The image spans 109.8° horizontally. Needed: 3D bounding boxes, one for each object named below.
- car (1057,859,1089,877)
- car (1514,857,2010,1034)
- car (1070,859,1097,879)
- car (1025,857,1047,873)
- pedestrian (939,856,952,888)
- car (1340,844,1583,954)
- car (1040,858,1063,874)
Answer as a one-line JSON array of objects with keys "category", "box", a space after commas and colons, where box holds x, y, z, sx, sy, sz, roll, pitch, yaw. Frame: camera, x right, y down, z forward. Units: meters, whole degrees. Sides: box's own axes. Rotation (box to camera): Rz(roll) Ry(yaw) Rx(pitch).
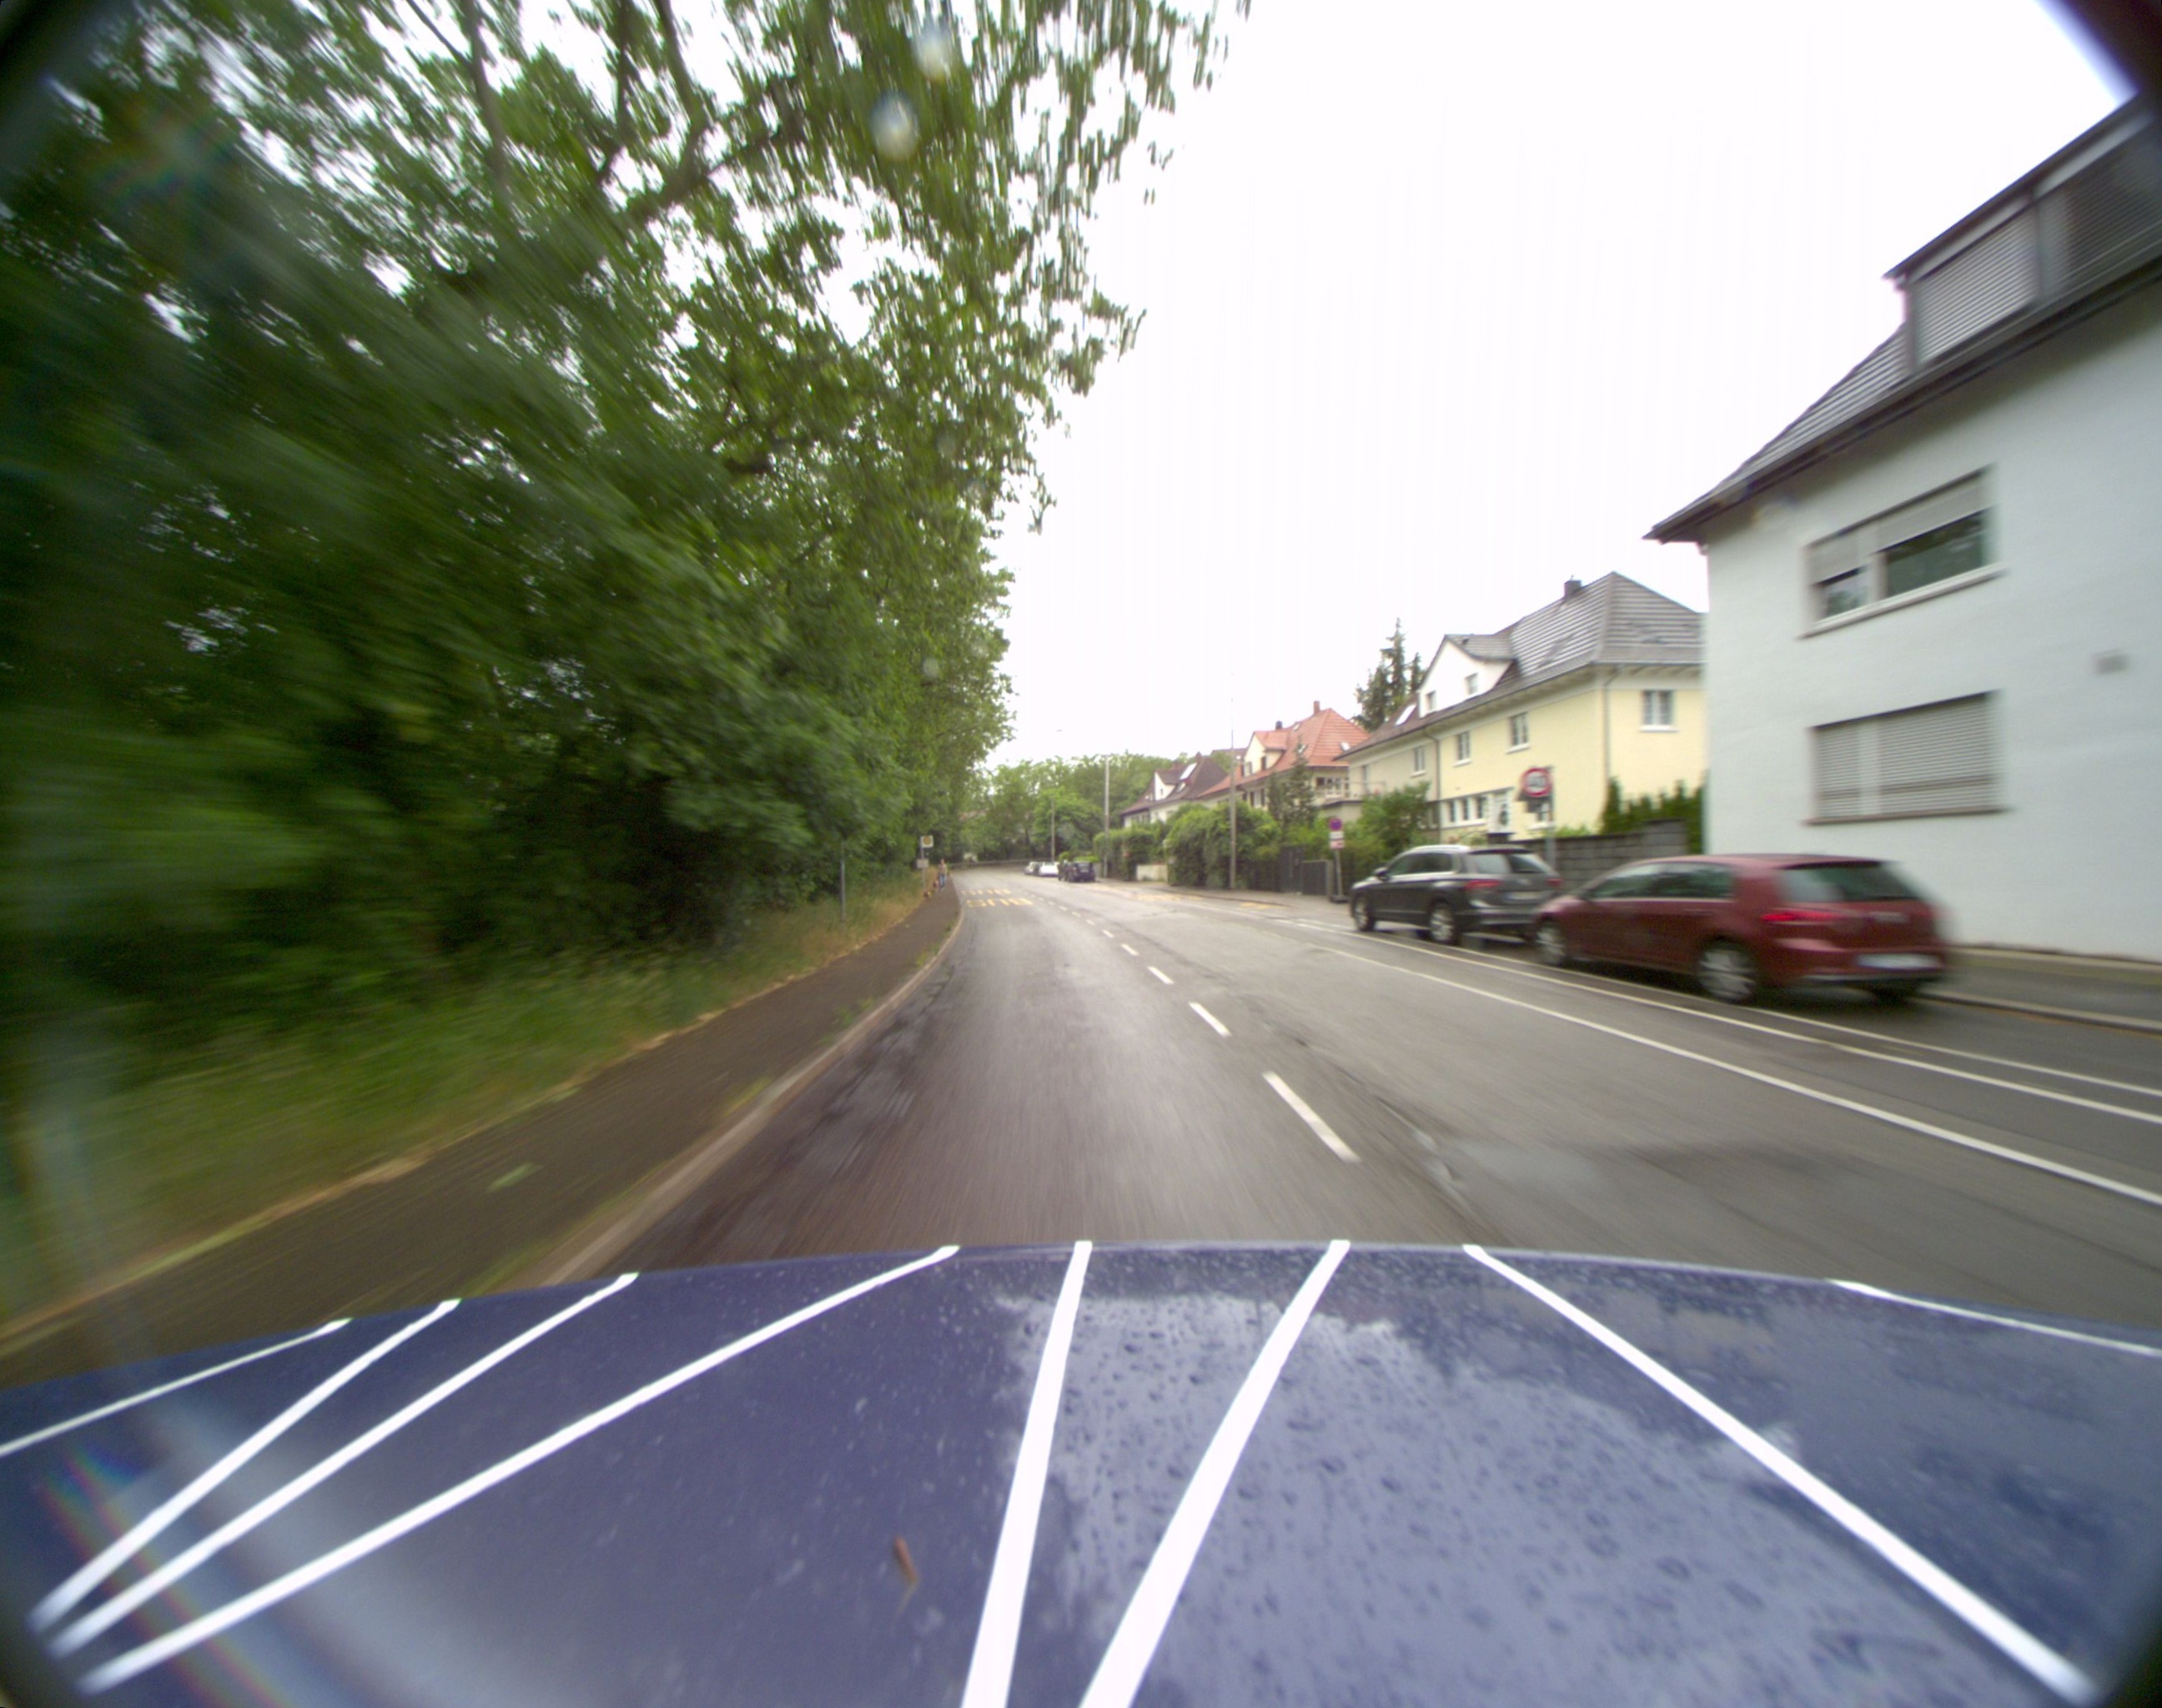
[{"category": "car", "box": [-0.645, 1.099, 59.757, 1.694, 1.410, 4.211, 1, -1, -12]}, {"category": "car", "box": [6.915, 0.788, 8.472, 1.621, 1.432, 4.230, -1, -1, -2]}, {"category": "car", "box": [0.154, 1.078, 55.075, 1.524, 1.445, 3.027, 1, -1, -9]}, {"category": "car", "box": [-5.018, 1.242, 84.400, 1.739, 1.412, 4.283, -4, -4, -12]}, {"category": "pedestrian", "box": [-6.940, 0.936, 38.845, 0.644, 1.602, 0.669, -1, 2, -11]}, {"category": "car", "box": [6.539, 0.713, 13.717, 1.760, 1.648, 4.402, 0, -1, -8]}, {"category": "car", "box": [-2.945, 1.176, 74.589, 1.704, 1.459, 3.707, -1, 0, -11]}]
